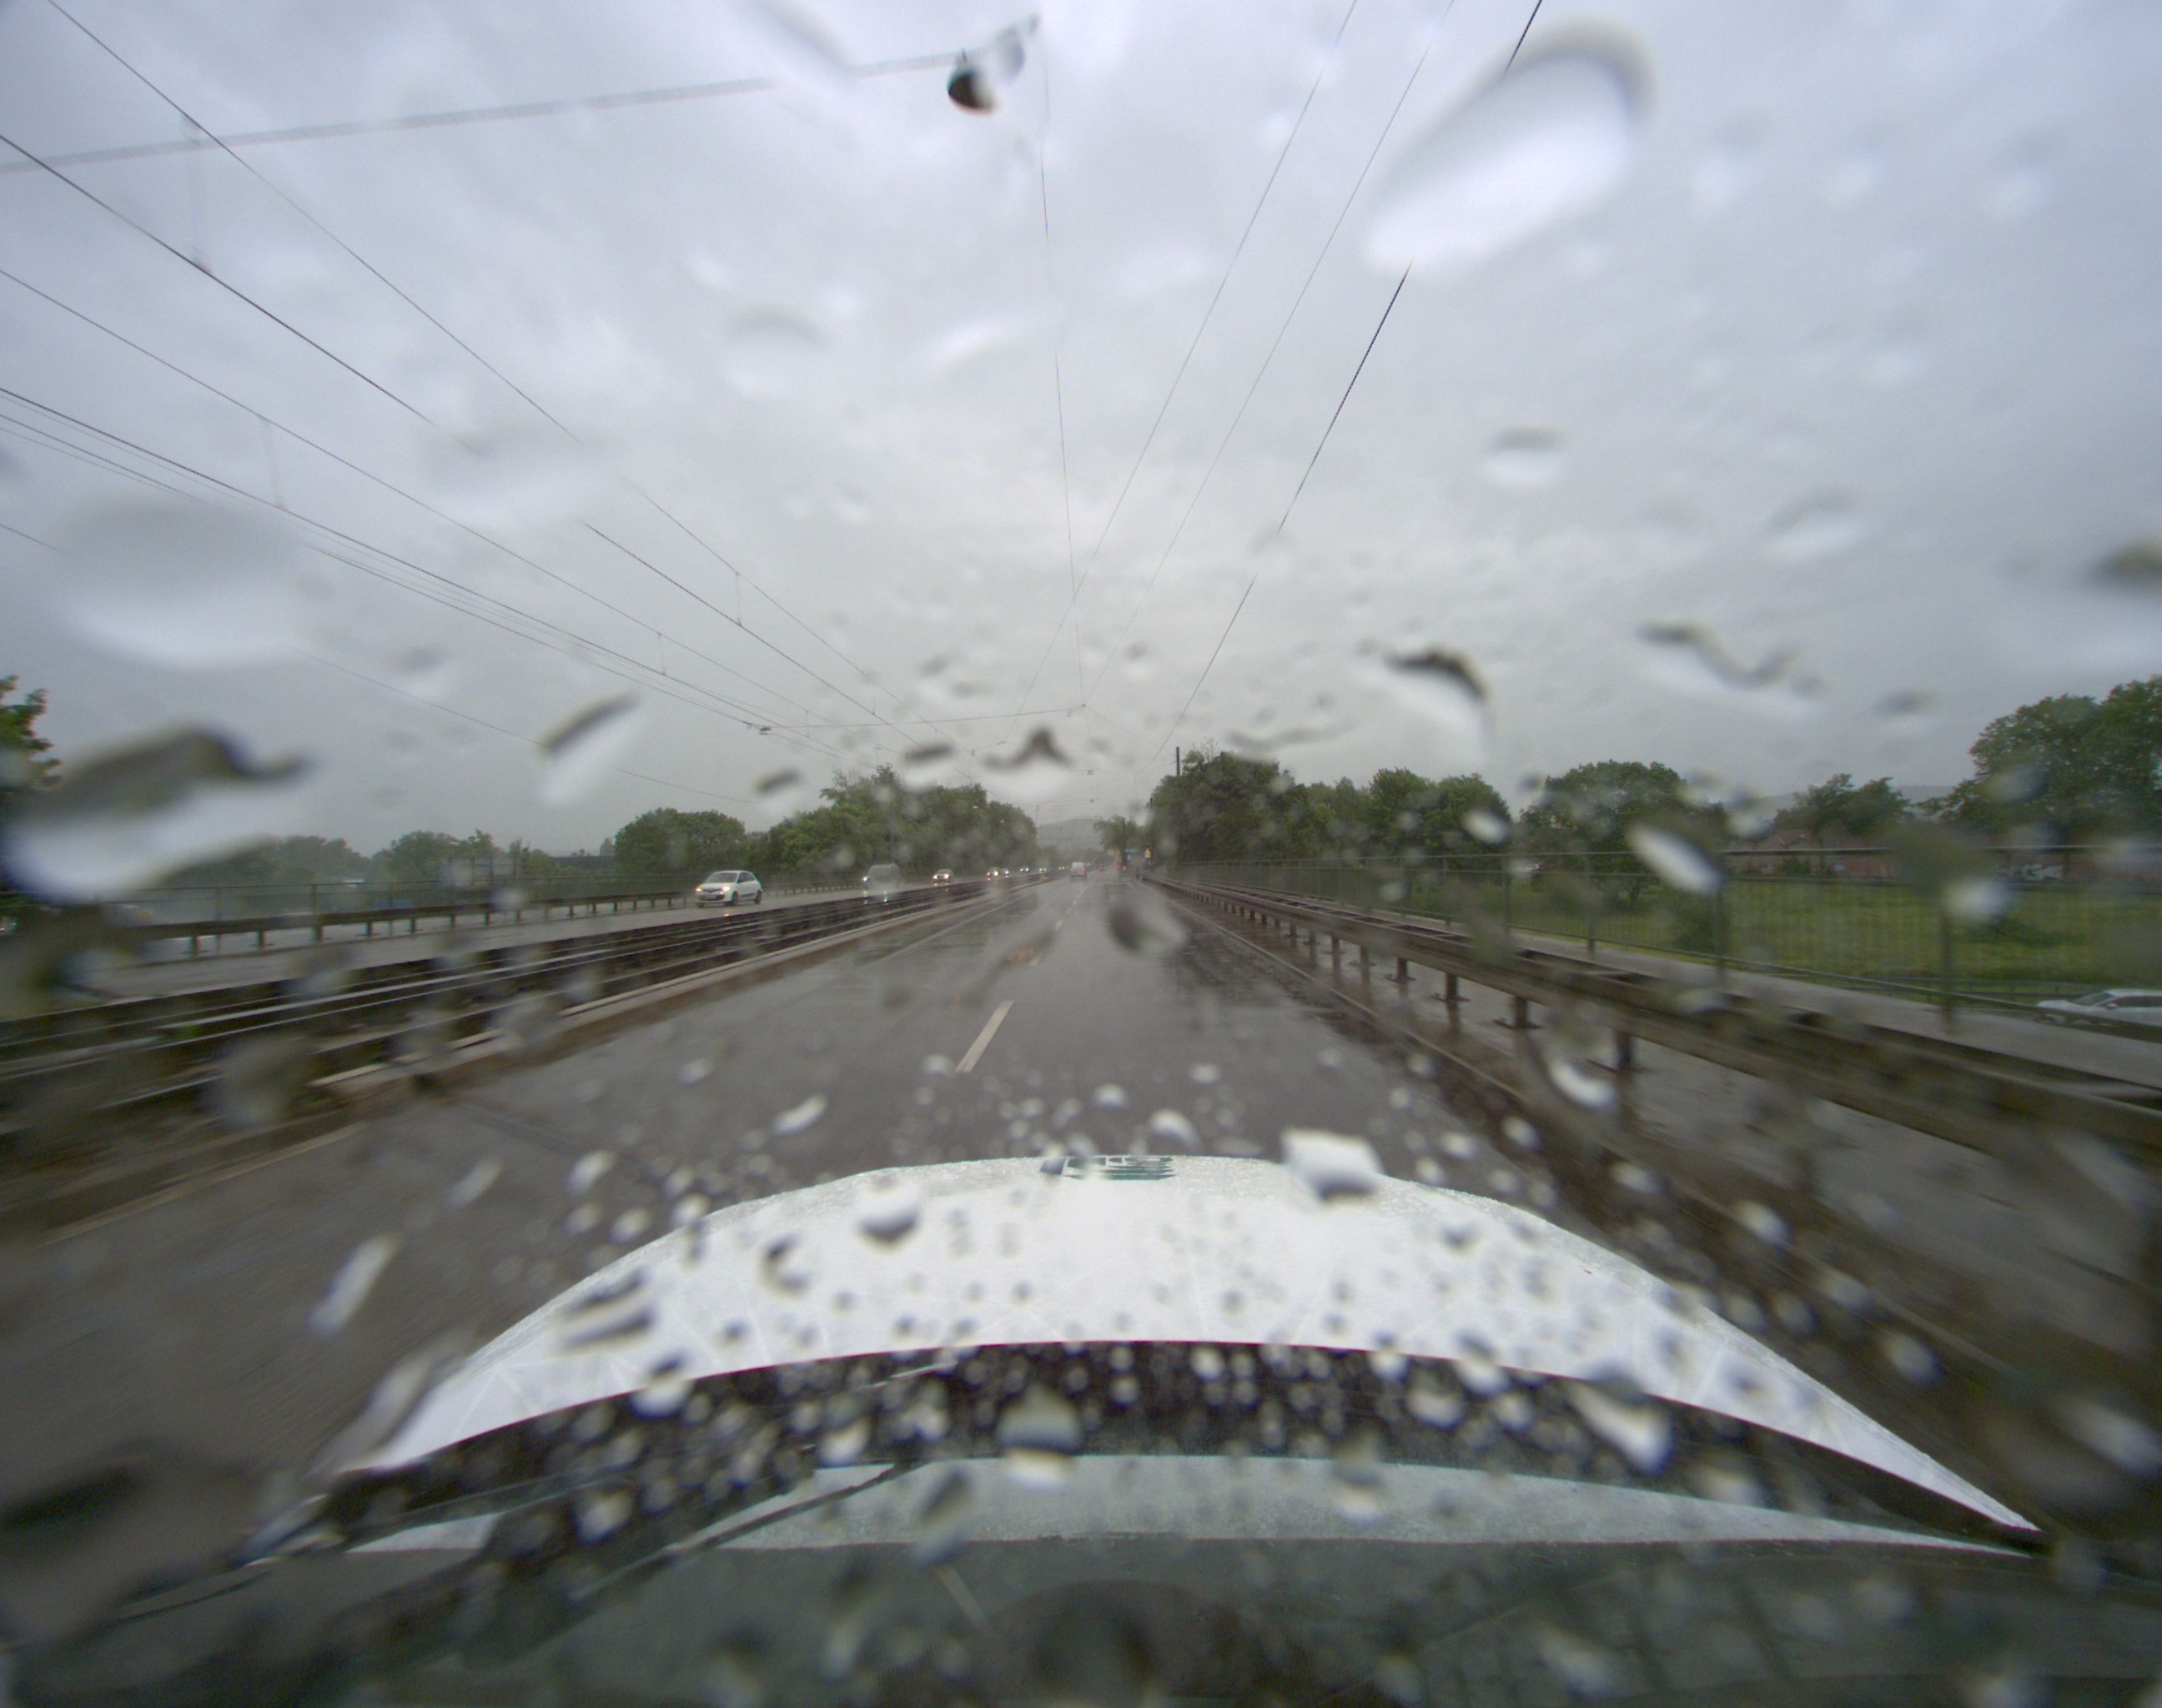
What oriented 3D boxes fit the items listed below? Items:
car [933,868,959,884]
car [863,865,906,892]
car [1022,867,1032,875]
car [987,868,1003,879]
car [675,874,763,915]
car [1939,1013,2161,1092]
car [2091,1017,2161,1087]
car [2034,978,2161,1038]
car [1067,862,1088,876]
[{"bbox_3d":[-14.030,2.252,84.795,1.839,1.594,4.001,-1,-1,2],"label":"car"},{"bbox_3d":[-14.277,1.762,59.373,1.841,1.832,4.395,2,-1,2],"label":"car"},{"bbox_3d":[-12.156,3.767,184.051,1.987,1.672,4.872,-1,-1,1],"label":"car"},{"bbox_3d":[-12.910,2.883,122.522,1.834,1.574,4.386,-1,-1,2],"label":"car"},{"bbox_3d":[-15.827,1.730,35.842,1.986,1.617,4.001,-1,-1,2],"label":"car"},{"bbox_3d":[29.160,5.865,24.085,4.869,1.414,2.012,2,-1,32],"label":"car"},{"bbox_3d":[33.733,6.078,23.880,4.770,1.696,2.012,2,-1,32],"label":"car"},{"bbox_3d":[39.060,5.746,29.982,4.770,1.696,2.012,2,-1,32],"label":"car"},{"bbox_3d":[-0.379,1.669,89.479,2.070,1.420,4.001,-2,-1,2],"label":"car"}]
